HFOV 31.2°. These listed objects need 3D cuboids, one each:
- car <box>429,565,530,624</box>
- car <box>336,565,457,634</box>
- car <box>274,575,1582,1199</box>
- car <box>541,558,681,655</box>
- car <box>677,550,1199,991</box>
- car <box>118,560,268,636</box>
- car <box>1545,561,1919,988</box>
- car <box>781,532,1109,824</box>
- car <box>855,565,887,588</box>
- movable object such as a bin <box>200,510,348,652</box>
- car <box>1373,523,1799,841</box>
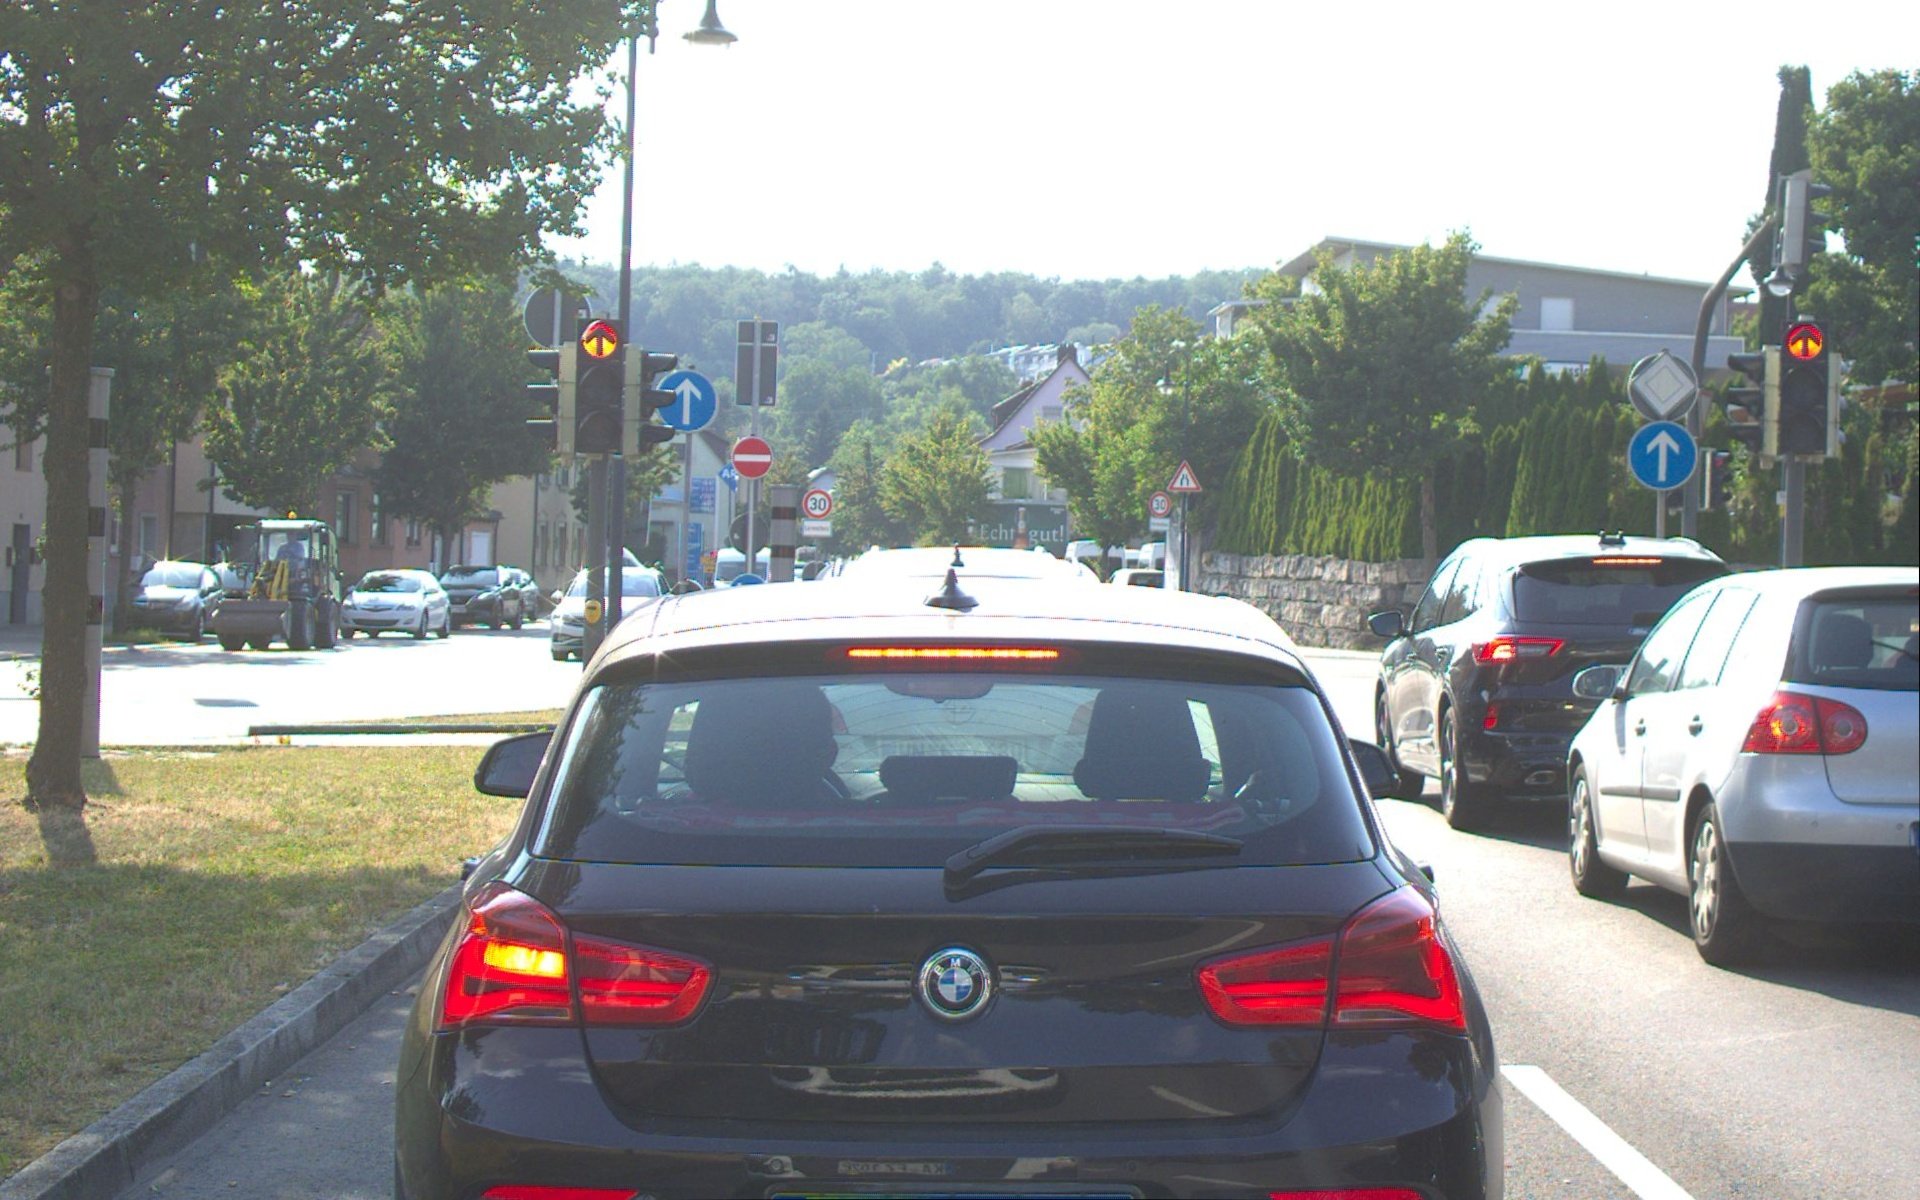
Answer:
[{"bbox_3d":[-11.925,-0.154,85.567,1.737,1.296,3.799,5,1,2],"label":"car"},{"bbox_3d":[-12.119,-0.030,74.146,1.737,1.296,3.799,5,1,2],"label":"car"},{"bbox_3d":[-0.037,0.679,6.869,1.788,1.393,4.281,-1,1,0],"label":"car"},{"bbox_3d":[-5.593,0.076,55.524,1.839,1.477,4.000,1,1,0],"label":"car"},{"bbox_3d":[-0.073,0.559,14.014,1.788,1.488,4.281,-1,1,0],"label":"car"},{"bbox_3d":[-14.937,-0.062,67.162,1.737,1.296,4.000,5,1,3],"label":"car"},{"bbox_3d":[3.556,0.578,13.752,1.761,1.421,3.903,-1,1,0],"label":"car"},{"bbox_3d":[-0.080,0.394,21.054,1.788,1.588,4.281,-1,1,0],"label":"car"},{"bbox_3d":[-5.707,-1.540,220.805,1.737,1.296,3.799,5,1,2],"label":"car"},{"bbox_3d":[-12.252,-0.357,61.635,1.736,2.433,4.450,0,1,0],"label":"movable object such as a bin"},{"bbox_3d":[3.529,0.400,20.033,1.761,1.650,3.903,-1,1,0],"label":"car"}]
